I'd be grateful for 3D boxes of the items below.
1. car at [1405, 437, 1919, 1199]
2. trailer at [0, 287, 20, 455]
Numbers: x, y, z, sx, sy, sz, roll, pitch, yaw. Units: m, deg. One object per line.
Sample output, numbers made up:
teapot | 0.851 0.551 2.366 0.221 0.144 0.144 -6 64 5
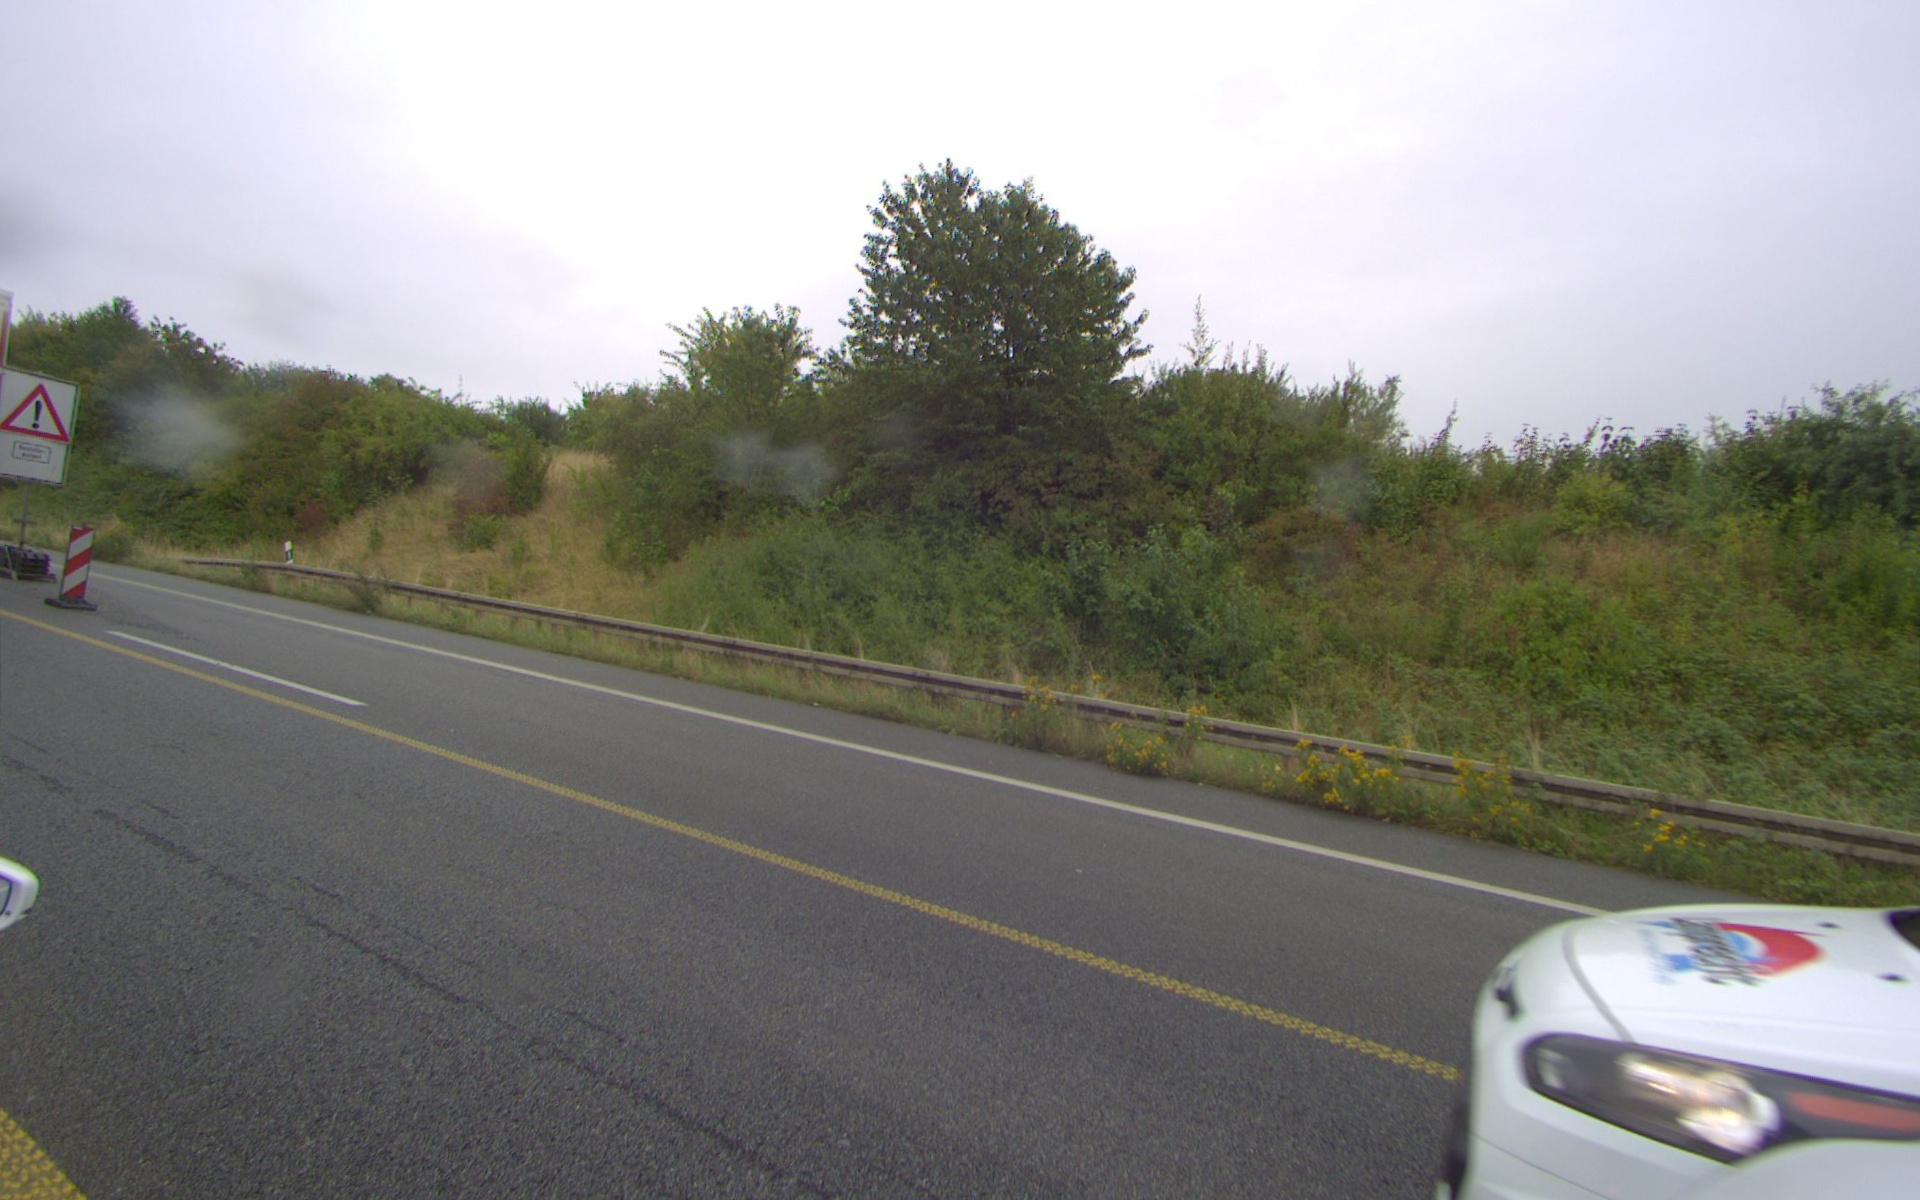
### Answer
car | 3.228 0.950 1.337 4.578 1.861 1.832 7 -1 32
trailer | -18.786 -2.728 15.430 13.407 4.125 2.697 7 0 32
